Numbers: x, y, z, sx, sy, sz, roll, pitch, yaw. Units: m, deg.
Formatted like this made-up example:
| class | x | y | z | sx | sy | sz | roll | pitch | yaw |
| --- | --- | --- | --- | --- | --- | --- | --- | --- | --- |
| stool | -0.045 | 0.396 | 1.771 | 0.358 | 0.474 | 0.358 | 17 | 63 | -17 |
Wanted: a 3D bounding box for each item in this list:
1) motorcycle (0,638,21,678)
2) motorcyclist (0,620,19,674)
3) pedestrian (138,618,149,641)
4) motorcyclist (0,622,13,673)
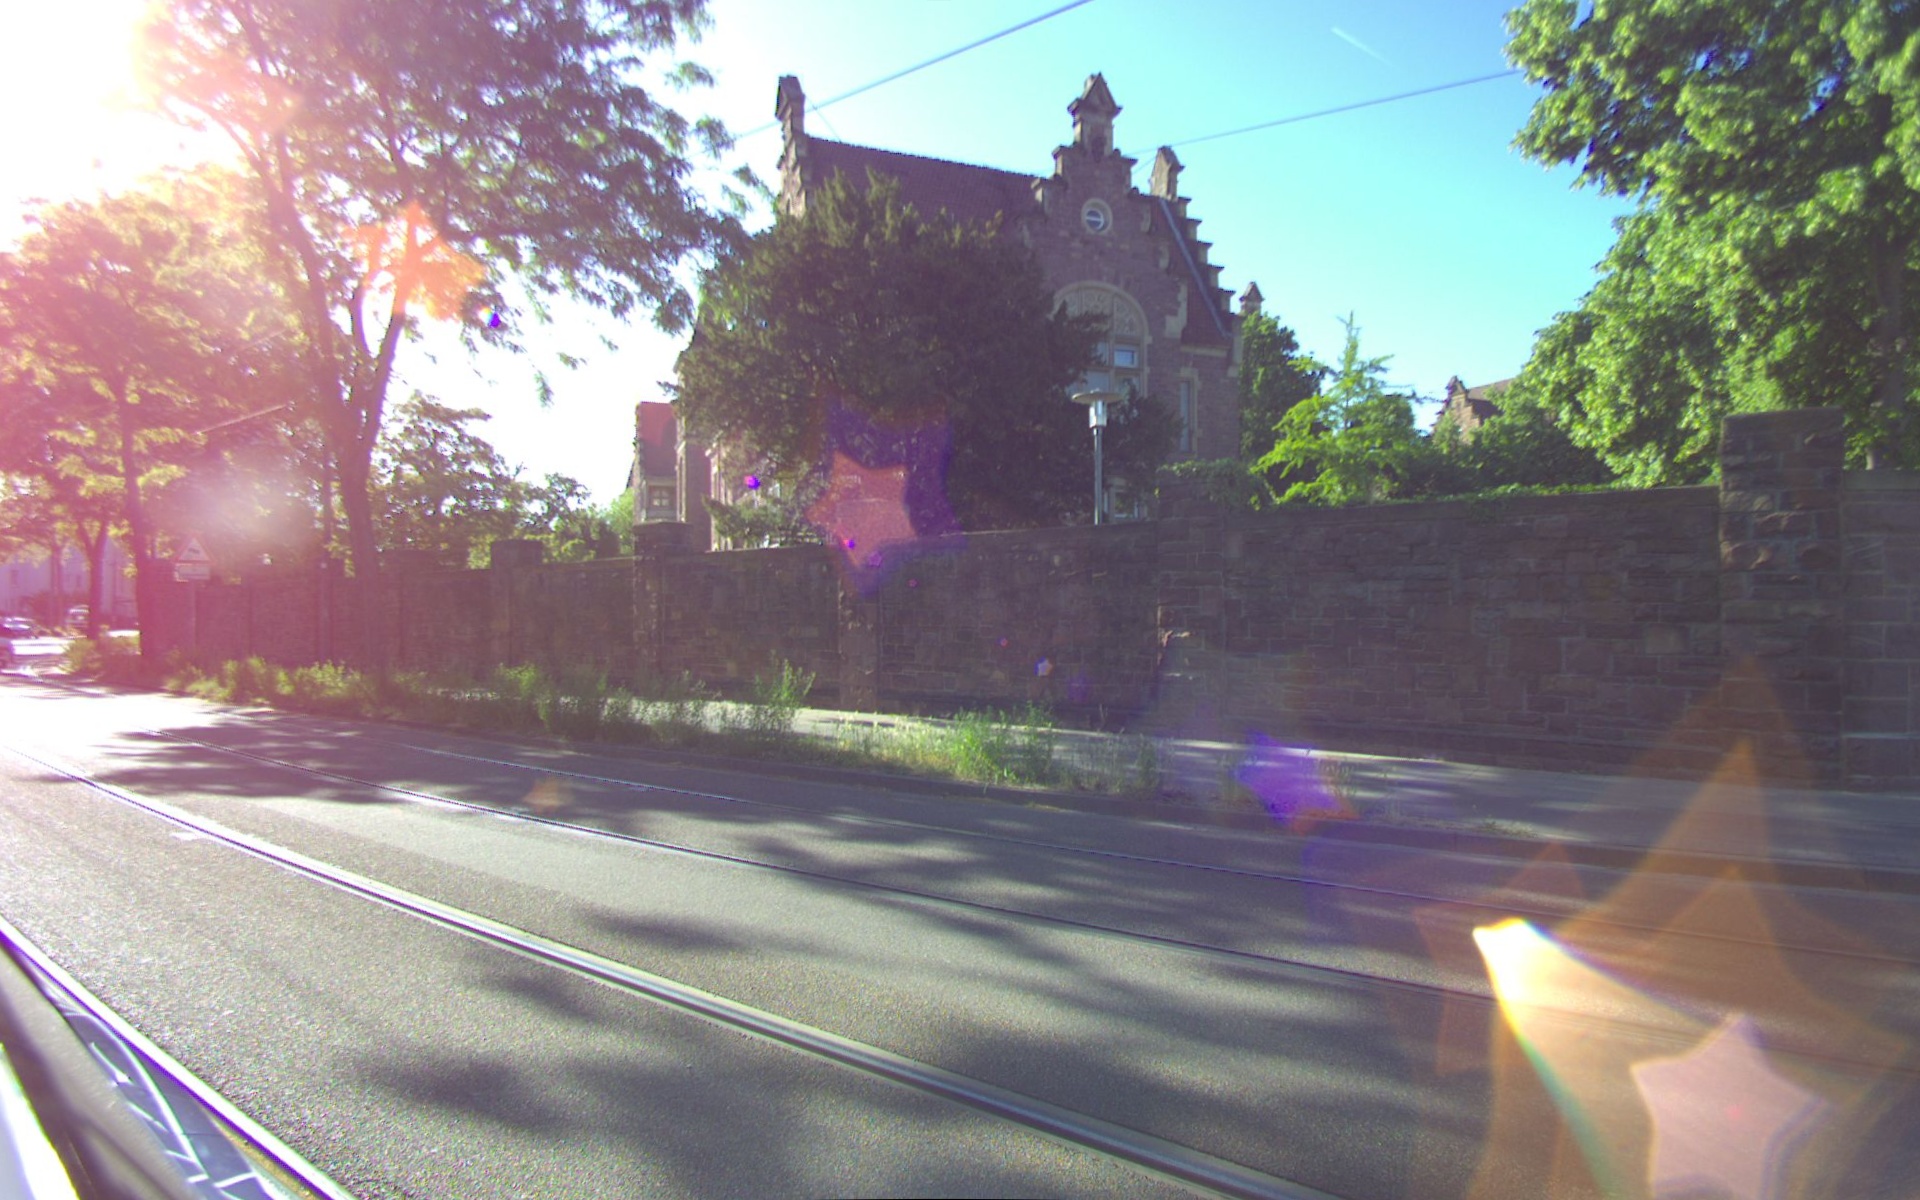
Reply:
| class | x | y | z | sx | sy | sz | roll | pitch | yaw |
| --- | --- | --- | --- | --- | --- | --- | --- | --- | --- |
| motorcycle | -27.434 | 1.631 | 28.822 | 1.851 | 1.101 | 0.604 | -1 | -1 | 33 |
| motorcyclist | -27.027 | 1.320 | 28.553 | 0.464 | 1.527 | 0.602 | -1 | -1 | 33 |
| pedestrian | -86.138 | 3.098 | 106.793 | 0.756 | 2.385 | 0.929 | -1 | 0 | -33 |
| motorcyclist | -27.508 | 1.366 | 28.842 | 0.445 | 1.451 | 0.678 | -1 | -1 | 34 |
